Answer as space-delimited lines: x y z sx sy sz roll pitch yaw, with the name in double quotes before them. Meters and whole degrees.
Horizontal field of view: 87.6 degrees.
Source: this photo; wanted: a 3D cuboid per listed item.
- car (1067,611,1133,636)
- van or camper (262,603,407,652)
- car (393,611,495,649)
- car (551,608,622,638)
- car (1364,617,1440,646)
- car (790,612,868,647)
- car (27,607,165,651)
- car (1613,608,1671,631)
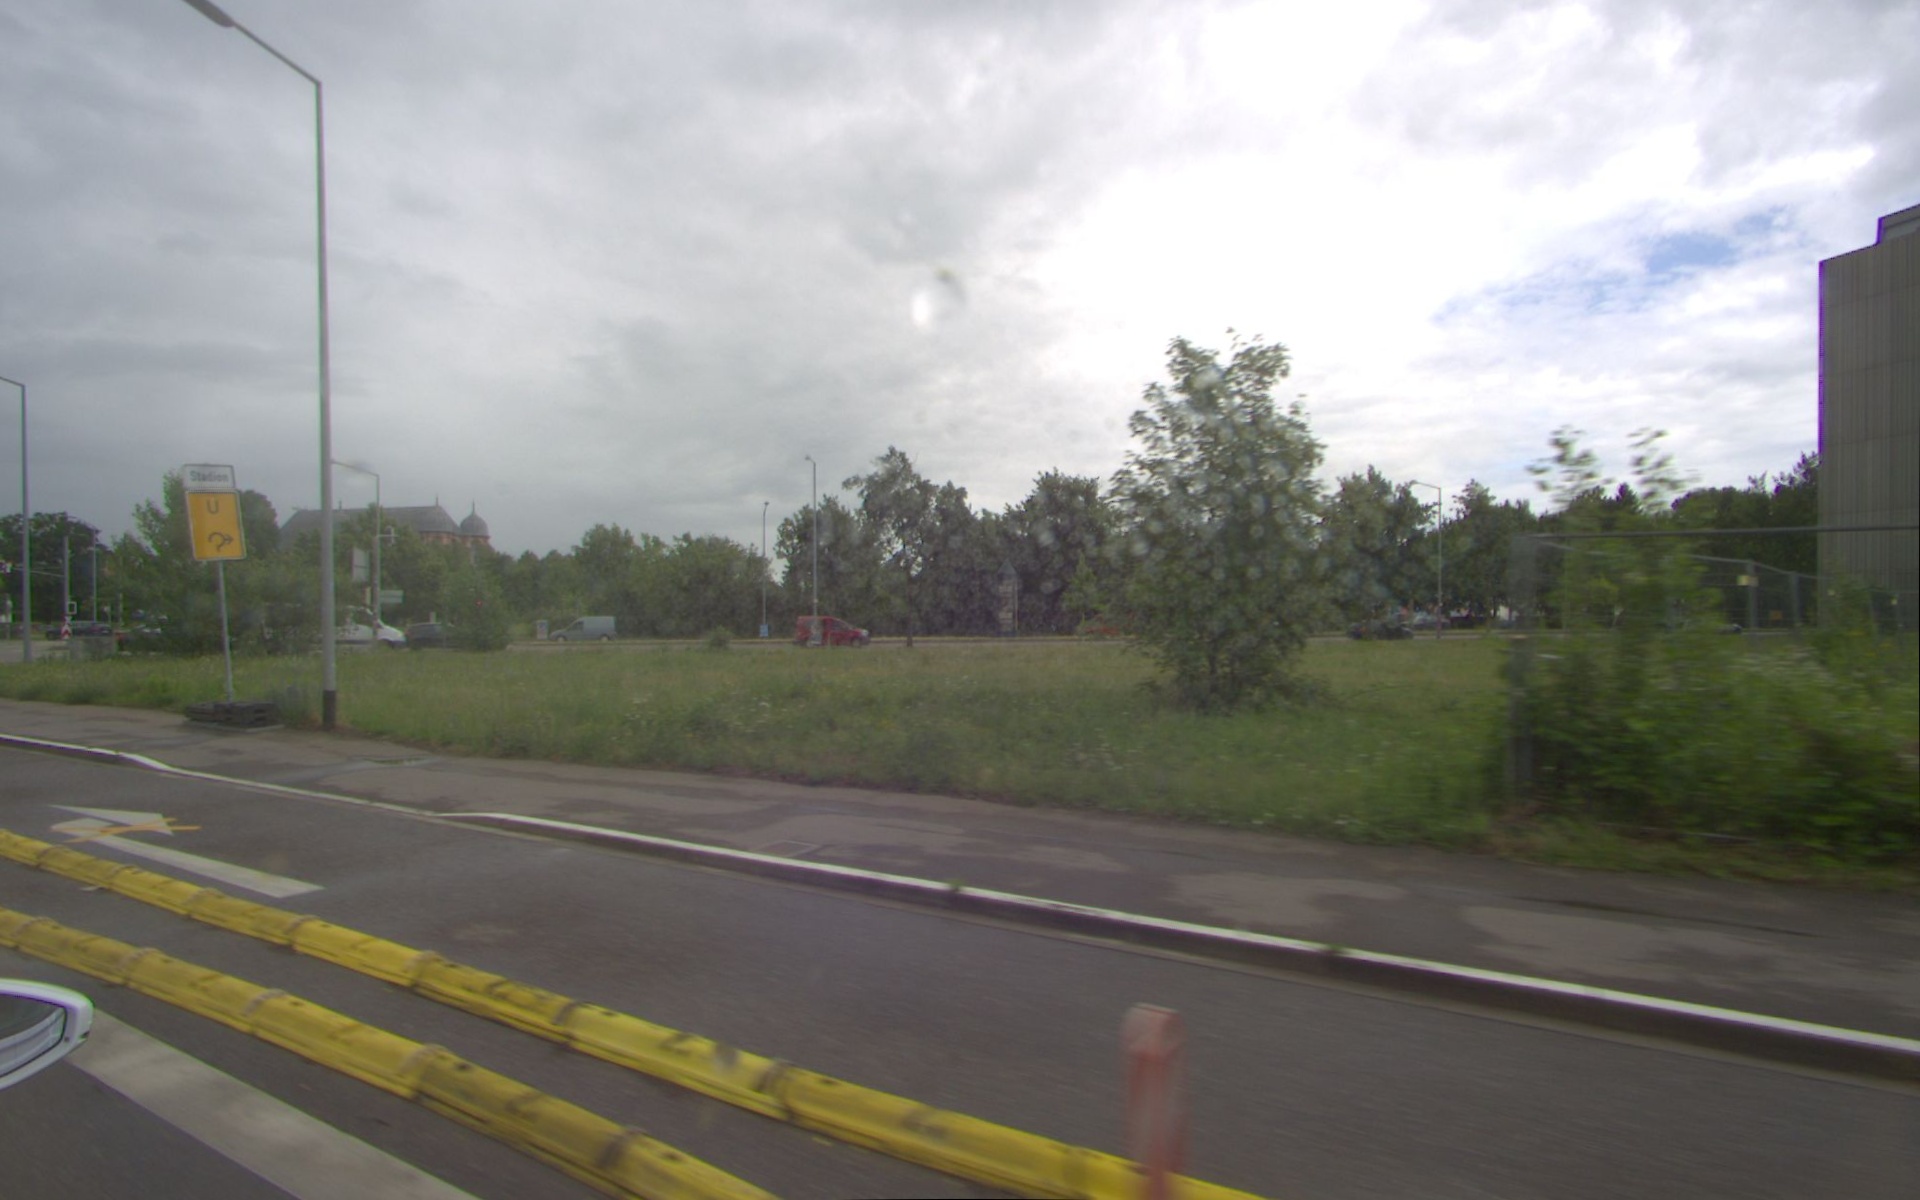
"car" 11.252 1.850 80.449 4.803 1.943 2.112 0 -1 -16
"van or camper" -28.495 1.229 45.703 5.487 2.143 1.985 1 -1 -38
"car" -26.230 1.505 51.032 4.538 1.819 2.106 0 -1 -27
"car" -26.141 1.581 70.195 4.396 2.040 1.998 0 0 -13
"car" 28.197 1.991 63.911 4.135 1.837 2.073 0 -1 -19
"car" -7.546 1.673 57.573 4.135 1.943 2.111 0 -1 -19
"car" -36.560 1.210 42.439 1.979 1.773 4.334 0 -1 44
"car" 54.311 1.529 79.722 3.931 1.805 1.858 0 -1 -19
